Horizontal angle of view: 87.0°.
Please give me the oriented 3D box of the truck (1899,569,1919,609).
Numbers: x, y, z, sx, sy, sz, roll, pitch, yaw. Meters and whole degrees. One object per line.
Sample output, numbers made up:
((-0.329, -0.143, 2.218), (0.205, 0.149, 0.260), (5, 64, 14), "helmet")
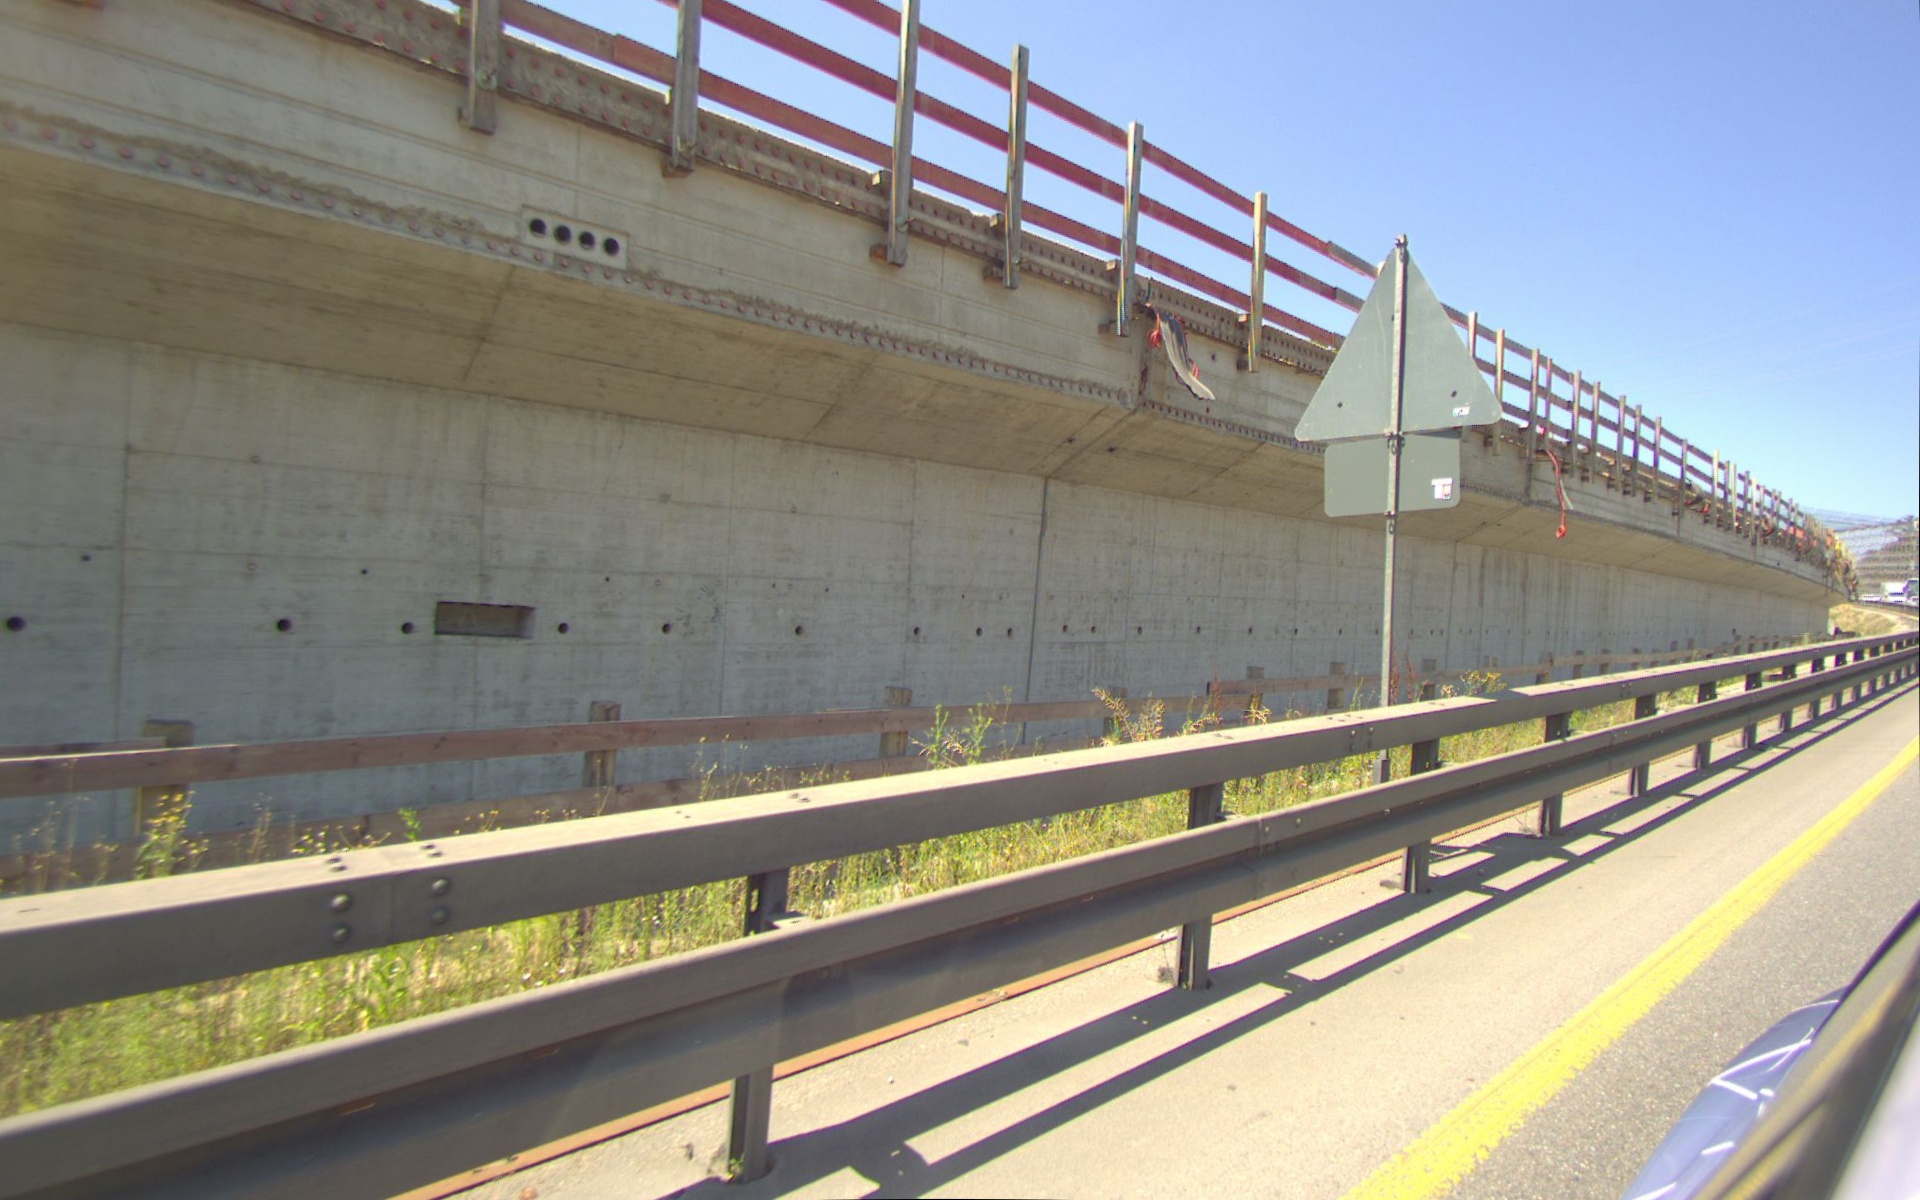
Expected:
((104.500, -1.240, 109.510), (2.893, 4.284, 9.128), (1, 2, 35), "truck")
